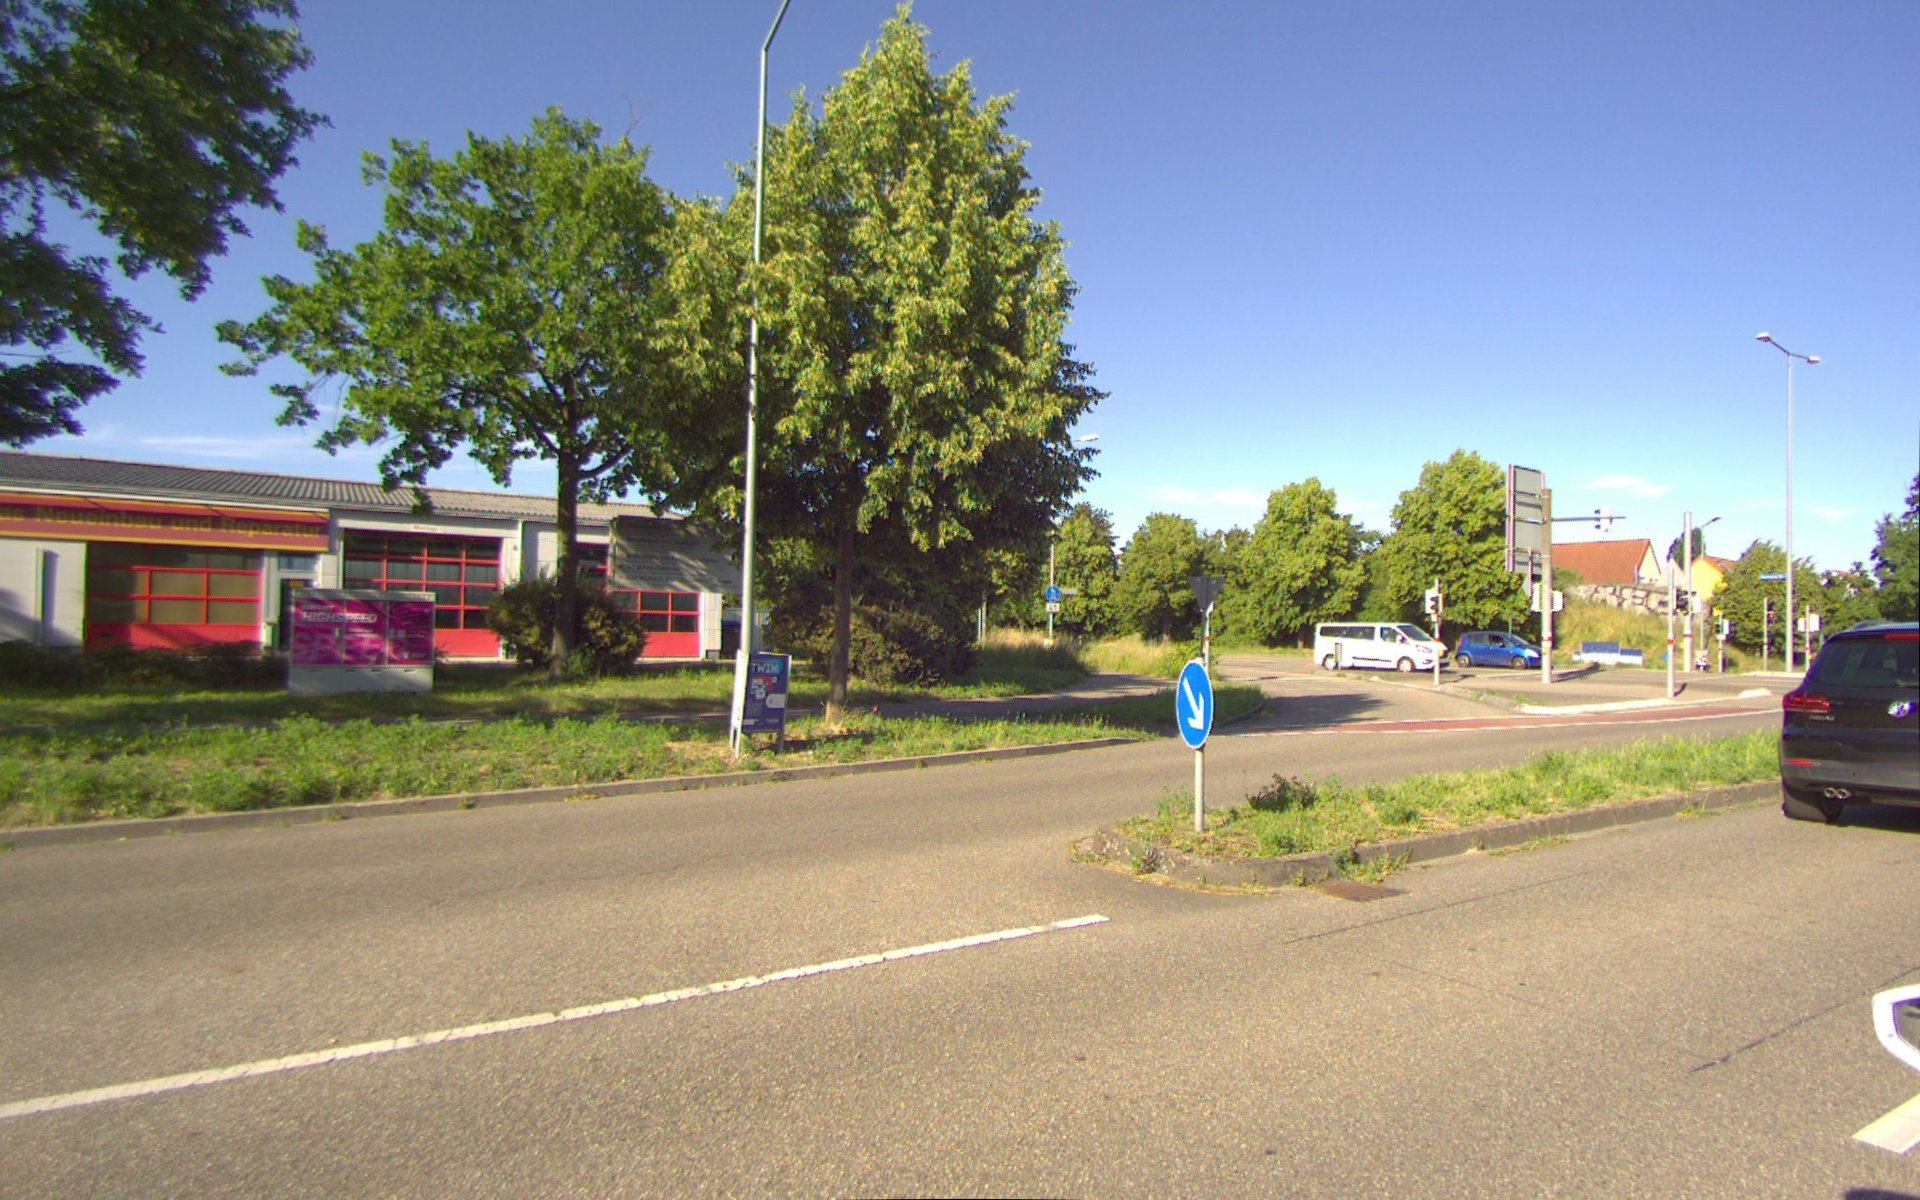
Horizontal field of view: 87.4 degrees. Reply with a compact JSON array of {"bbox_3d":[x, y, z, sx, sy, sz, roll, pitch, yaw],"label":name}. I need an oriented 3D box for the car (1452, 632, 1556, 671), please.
[{"bbox_3d":[23.372,2.186,43.256,1.733,1.581,3.559,2,-2,-35],"label":"car"}]

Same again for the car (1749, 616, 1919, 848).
[{"bbox_3d":[8.564,1.020,8.446,3.955,1.675,1.763,2,-3,-32],"label":"car"}]

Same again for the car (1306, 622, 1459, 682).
[{"bbox_3d":[16.855,2.036,40.363,2.160,2.146,5.350,2,-1,-35],"label":"car"}]
